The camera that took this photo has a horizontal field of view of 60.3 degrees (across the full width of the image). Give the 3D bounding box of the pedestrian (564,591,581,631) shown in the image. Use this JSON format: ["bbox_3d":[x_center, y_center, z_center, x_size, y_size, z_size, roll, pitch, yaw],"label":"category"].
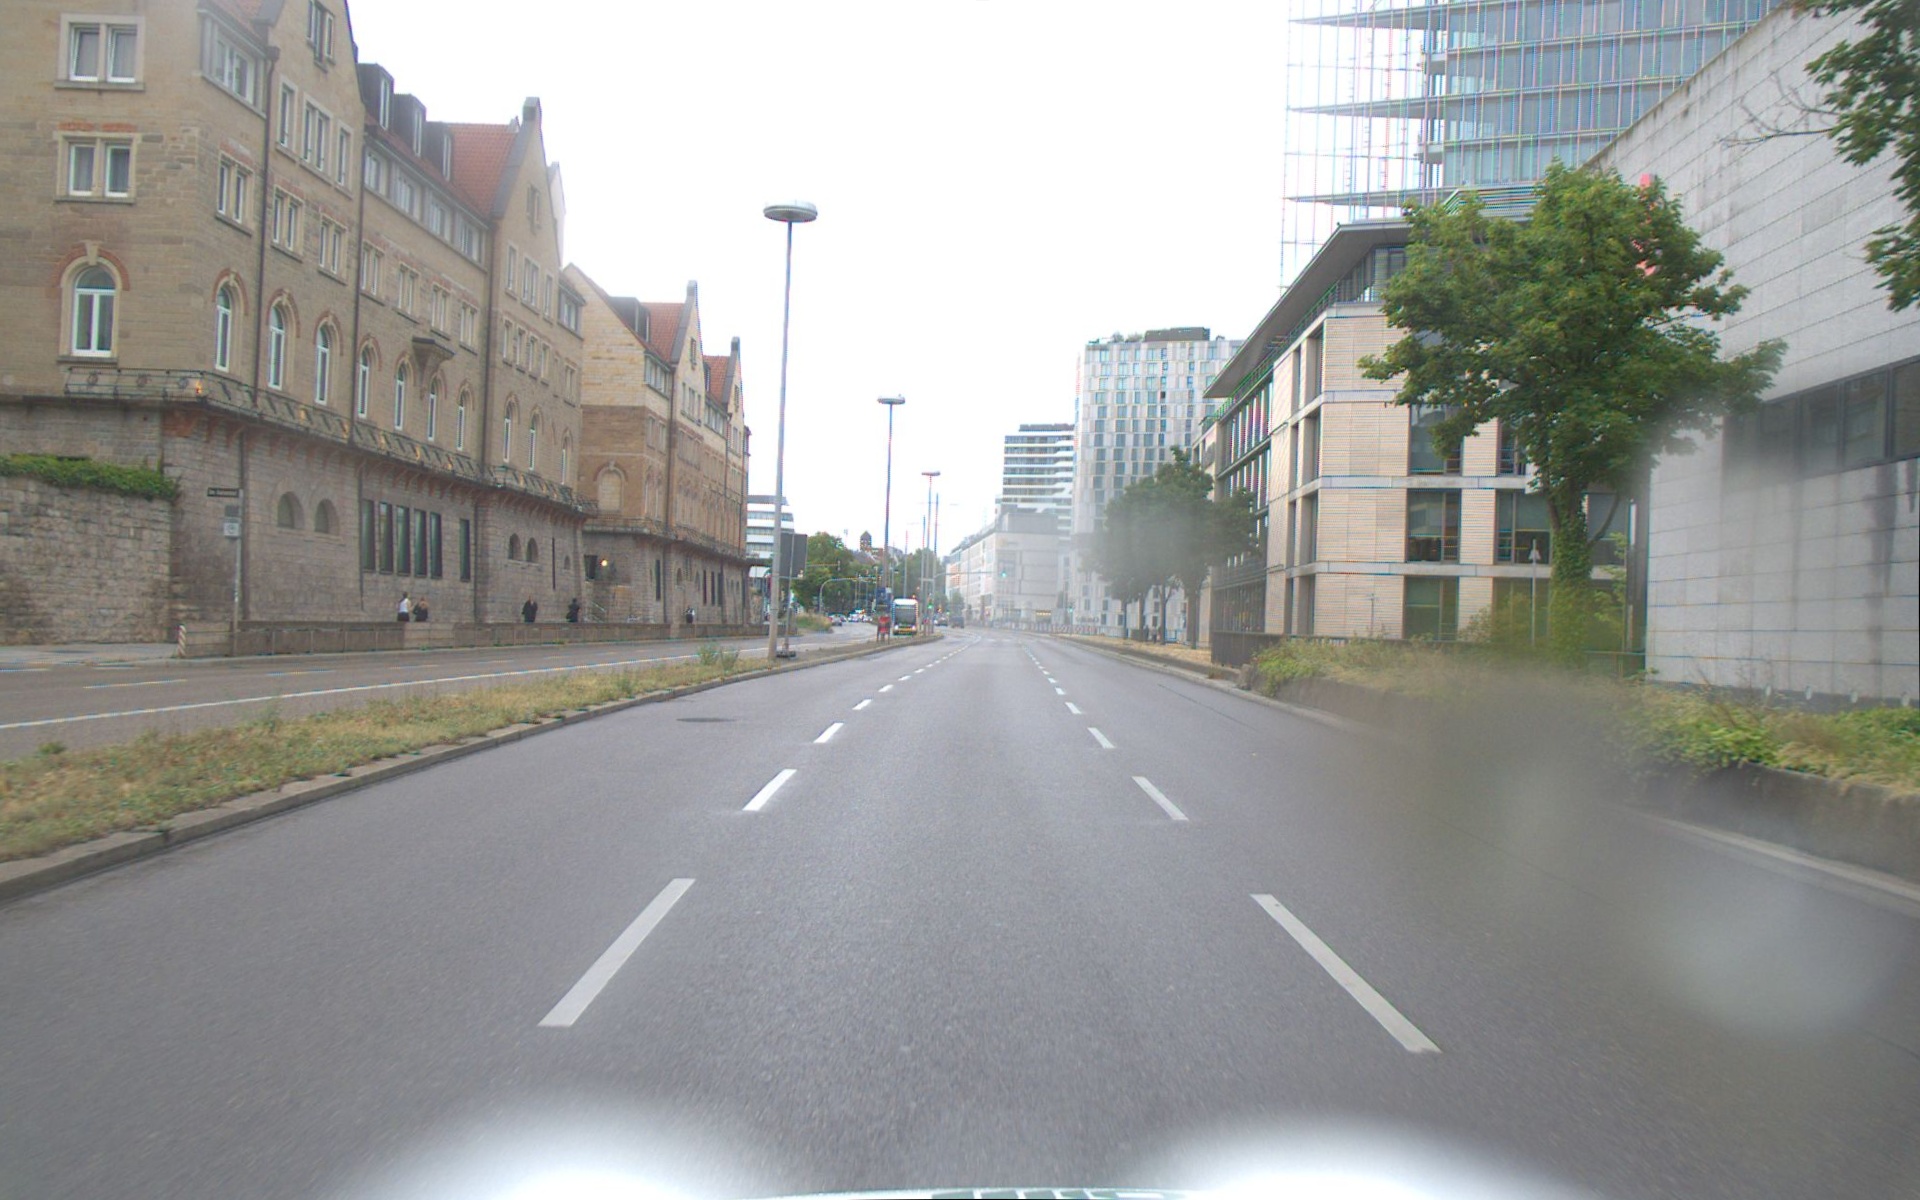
[{"bbox_3d":[-17.181,0.483,73.356,0.627,1.776,0.621,1,0,-1],"label":"pedestrian"}]

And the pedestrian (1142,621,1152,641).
[{"bbox_3d":[15.272,2.513,134.813,0.540,1.605,0.668,1,0,36],"label":"pedestrian"}]

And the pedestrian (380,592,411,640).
[{"bbox_3d":[-18.028,0.501,52.831,0.738,1.503,0.714,1,0,1],"label":"pedestrian"}]

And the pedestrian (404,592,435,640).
[{"bbox_3d":[-17.258,0.500,52.836,0.738,1.503,0.714,1,0,1],"label":"pedestrian"}]

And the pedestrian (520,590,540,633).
[{"bbox_3d":[-17.796,0.480,68.432,0.627,1.776,0.621,1,0,-1],"label":"pedestrian"}]

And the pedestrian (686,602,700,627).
[{"bbox_3d":[-16.588,0.912,102.779,0.738,1.503,0.714,1,0,1],"label":"pedestrian"}]

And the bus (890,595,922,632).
[{"bbox_3d":[-5.410,1.378,167.371,2.642,3.622,10.094,1,0,1],"label":"bus"}]
